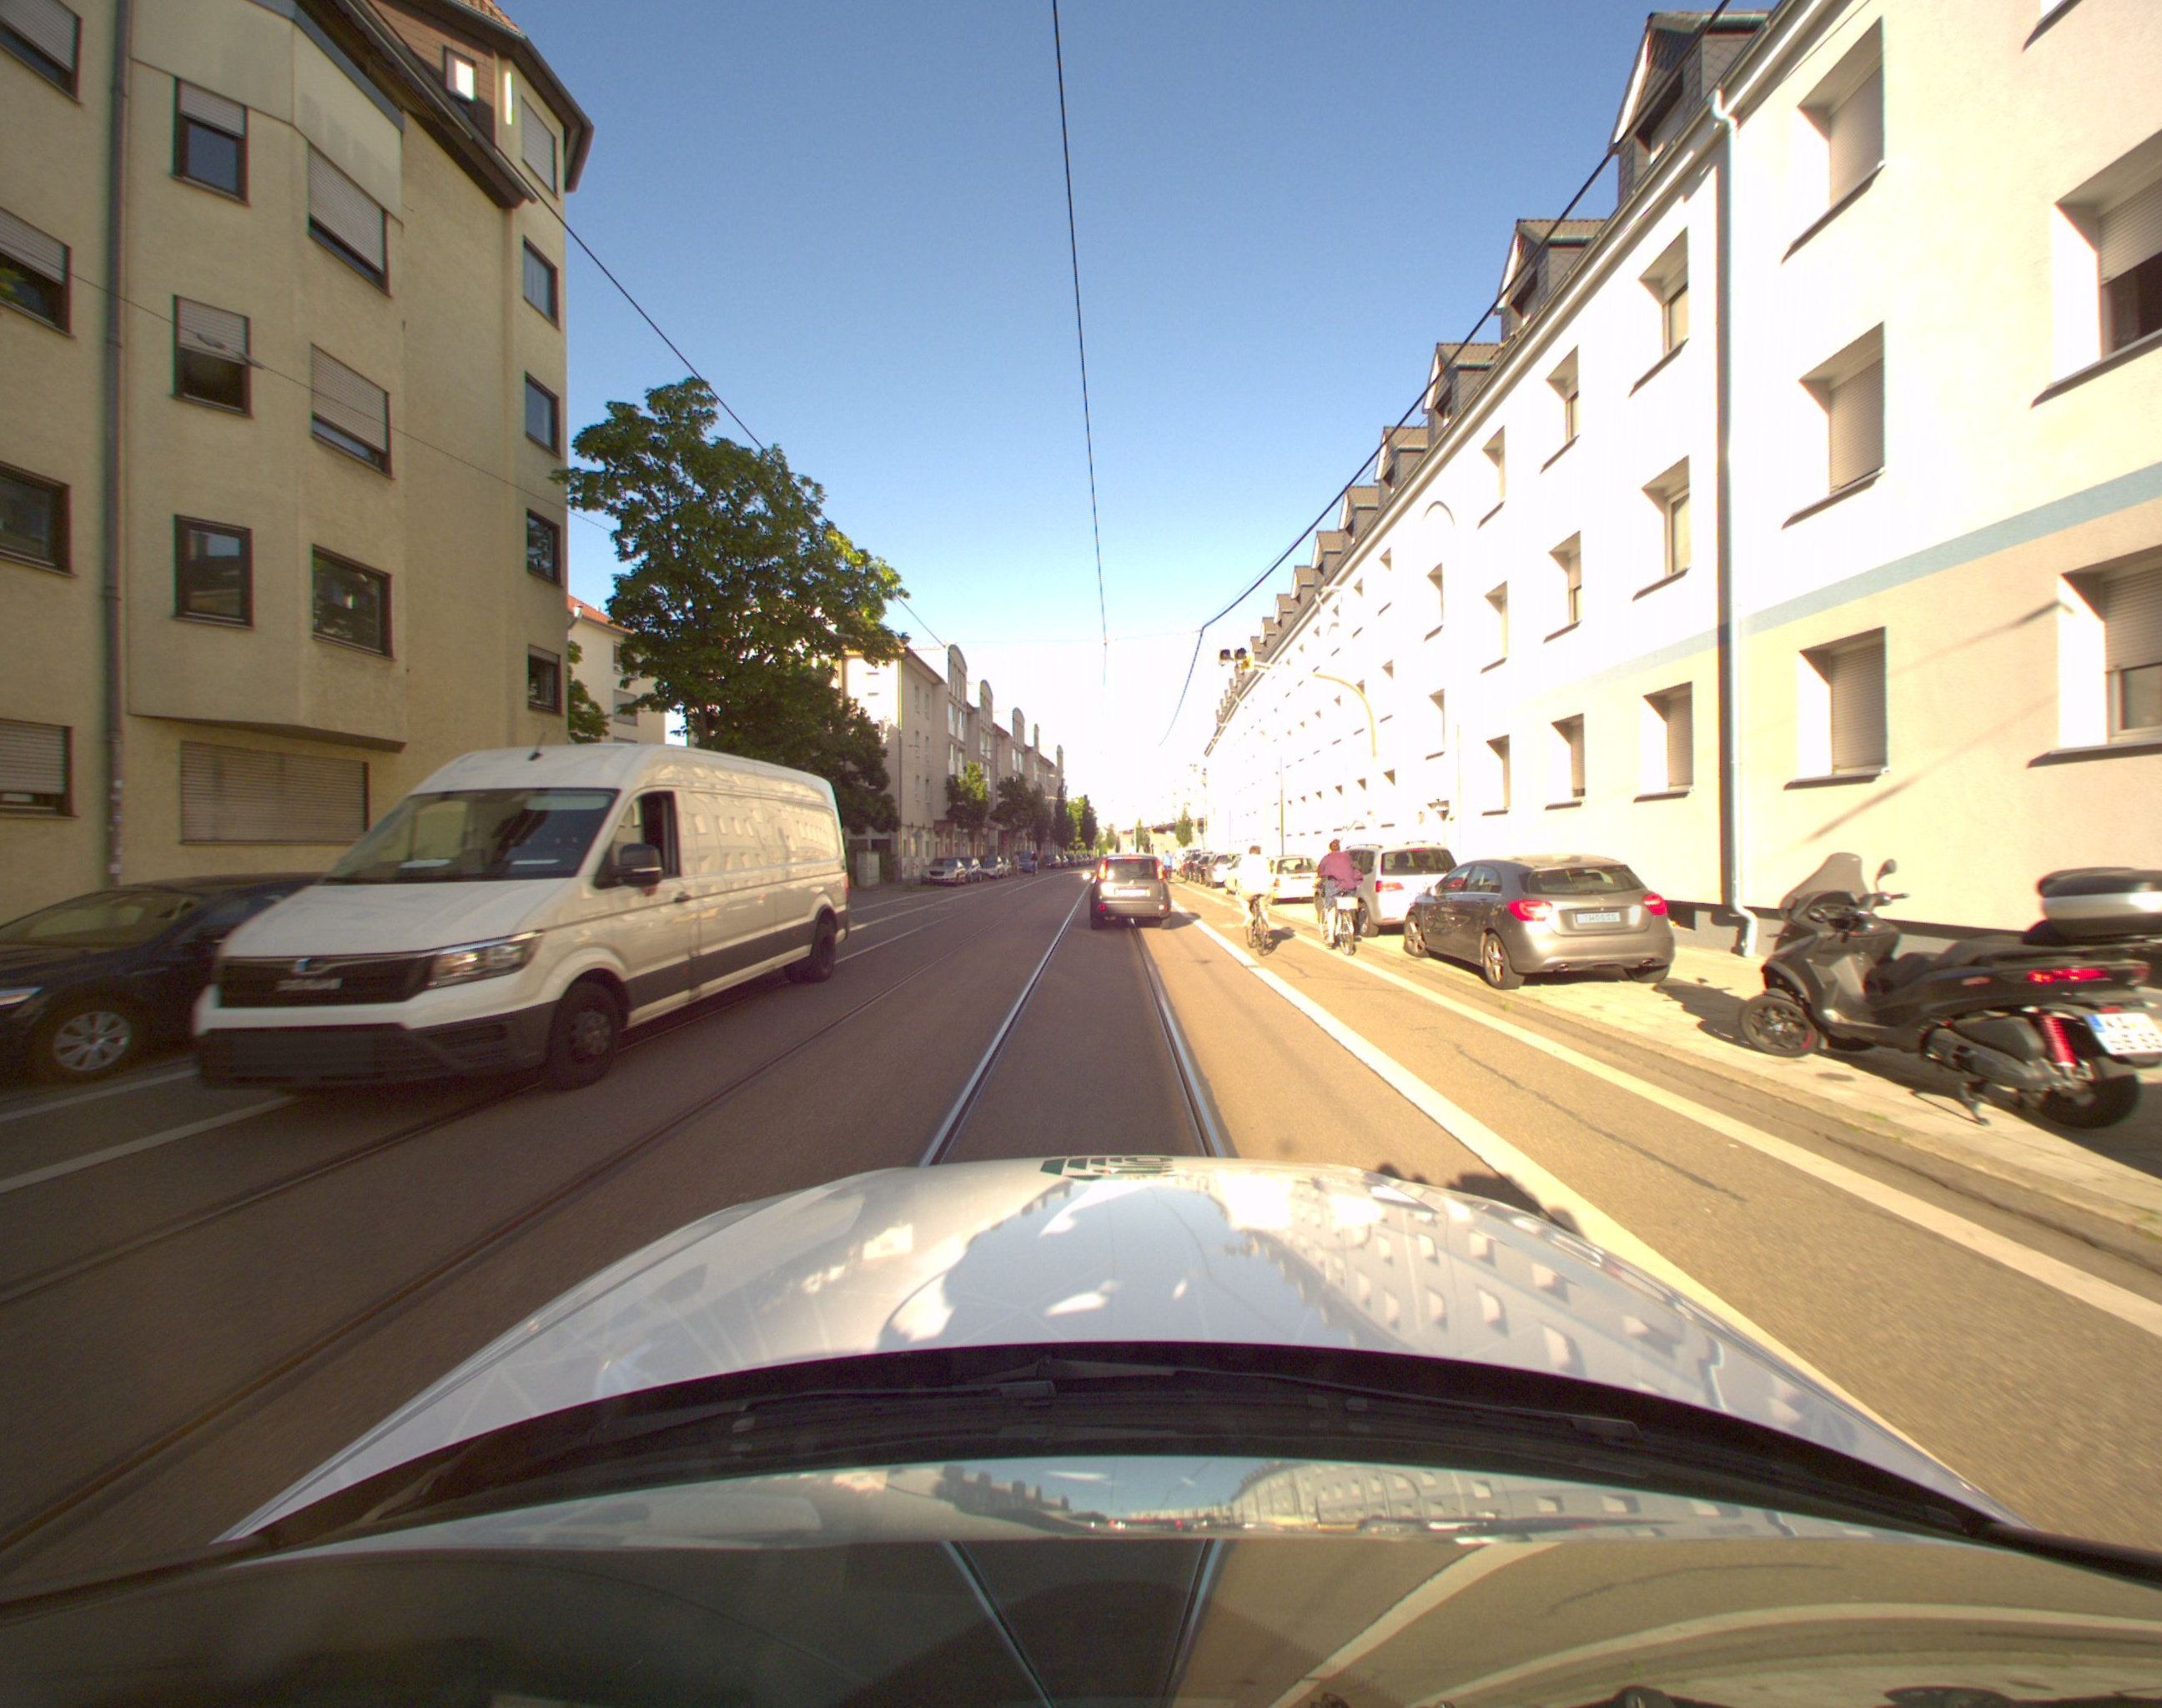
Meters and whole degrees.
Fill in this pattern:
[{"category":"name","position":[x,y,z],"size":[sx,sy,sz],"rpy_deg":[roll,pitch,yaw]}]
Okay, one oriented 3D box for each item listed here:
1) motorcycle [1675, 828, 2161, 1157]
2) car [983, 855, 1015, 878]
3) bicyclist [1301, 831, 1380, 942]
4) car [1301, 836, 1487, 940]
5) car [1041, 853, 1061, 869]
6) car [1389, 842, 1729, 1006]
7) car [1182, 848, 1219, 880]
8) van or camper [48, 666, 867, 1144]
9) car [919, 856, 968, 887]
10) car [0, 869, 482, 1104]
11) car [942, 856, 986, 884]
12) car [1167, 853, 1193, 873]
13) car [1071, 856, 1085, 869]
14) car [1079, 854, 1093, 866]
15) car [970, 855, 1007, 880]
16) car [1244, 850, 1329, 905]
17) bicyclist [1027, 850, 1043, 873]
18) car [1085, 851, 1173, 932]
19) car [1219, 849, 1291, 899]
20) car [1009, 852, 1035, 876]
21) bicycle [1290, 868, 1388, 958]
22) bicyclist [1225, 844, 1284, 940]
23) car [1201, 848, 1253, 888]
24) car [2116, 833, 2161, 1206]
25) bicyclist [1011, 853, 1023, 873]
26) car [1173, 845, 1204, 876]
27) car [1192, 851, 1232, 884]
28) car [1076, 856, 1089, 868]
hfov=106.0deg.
[{"category":"motorcycle","position":[5.193,0.647,5.198],"size":[0.802,1.521,2.709],"rpy_deg":[-3,0,1]},{"category":"car","position":[-6.103,0.922,60.949],"size":[1.823,1.593,4.002],"rpy_deg":[-1,0,2]},{"category":"bicyclist","position":[4.044,0.489,12.784],"size":[0.931,1.676,0.970],"rpy_deg":[-1,0,1]},{"category":"car","position":[5.837,0.565,15.887],"size":[1.750,1.665,4.624],"rpy_deg":[-2,0,-1]},{"category":"car","position":[-3.128,0.729,85.928],"size":[1.657,1.618,4.004],"rpy_deg":[-1,0,4]},{"category":"car","position":[5.554,0.686,10.250],"size":[1.856,1.555,4.370],"rpy_deg":[-2,0,3]},{"category":"car","position":[6.846,0.558,47.045],"size":[1.654,1.669,3.907],"rpy_deg":[-4,0,3]},{"category":"van or camper","position":[-4.281,0.274,7.809],"size":[2.360,2.553,6.838],"rpy_deg":[-1,0,2]},{"category":"car","position":[-7.069,0.883,42.213],"size":[1.737,1.443,4.002],"rpy_deg":[1,0,2]},{"category":"car","position":[-8.244,0.964,7.497],"size":[1.758,1.542,4.737],"rpy_deg":[-1,0,3]},{"category":"car","position":[-6.847,0.909,48.120],"size":[1.823,1.489,4.002],"rpy_deg":[-3,0,2]},{"category":"car","position":[8.208,0.730,68.119],"size":[1.836,1.646,4.552],"rpy_deg":[-1,0,3]},{"category":"car","position":[-0.375,1.092,104.485],"size":[1.585,1.540,3.193],"rpy_deg":[-1,0,3]},{"category":"car","position":[0.734,0.851,114.606],"size":[1.836,1.646,3.700],"rpy_deg":[-1,0,3]},{"category":"car","position":[-6.320,0.887,56.091],"size":[1.821,1.593,4.005],"rpy_deg":[-1,0,4]},{"category":"car","position":[6.084,0.646,24.557],"size":[1.508,1.430,4.203],"rpy_deg":[-4,0,1]},{"category":"bicyclist","position":[-3.246,0.534,57.516],"size":[0.878,1.561,0.868],"rpy_deg":[-4,0,2]},{"category":"car","position":[0.923,0.710,17.314],"size":[1.552,1.533,3.484],"rpy_deg":[-1,0,-2]},{"category":"car","position":[6.071,0.641,28.910],"size":[1.673,1.571,4.511],"rpy_deg":[-2,0,2]},{"category":"car","position":[-5.053,0.859,70.180],"size":[1.657,1.986,4.347],"rpy_deg":[-1,0,4]},{"category":"bicycle","position":[4.043,0.878,12.991],"size":[0.818,1.236,2.463],"rpy_deg":[1,0,1]},{"category":"bicyclist","position":[2.725,0.576,12.883],"size":[0.725,1.462,1.021],"rpy_deg":[-1,0,1]},{"category":"car","position":[6.477,0.601,36.474],"size":[1.747,1.571,3.907],"rpy_deg":[-4,0,3]},{"category":"car","position":[5.218,0.674,1.554],"size":[1.602,1.571,3.907],"rpy_deg":[-2,0,3]},{"category":"bicyclist","position":[-4.521,0.635,57.637],"size":[0.621,1.380,0.868],"rpy_deg":[-5,0,2]},{"category":"car","position":[7.418,0.446,56.725],"size":[1.779,1.970,4.158],"rpy_deg":[-2,0,3]},{"category":"car","position":[6.662,0.641,41.734],"size":[1.585,1.537,4.011],"rpy_deg":[-3,0,4]},{"category":"car","position":[0.197,1.116,108.483],"size":[1.585,1.540,3.193],"rpy_deg":[-1,0,3]}]
